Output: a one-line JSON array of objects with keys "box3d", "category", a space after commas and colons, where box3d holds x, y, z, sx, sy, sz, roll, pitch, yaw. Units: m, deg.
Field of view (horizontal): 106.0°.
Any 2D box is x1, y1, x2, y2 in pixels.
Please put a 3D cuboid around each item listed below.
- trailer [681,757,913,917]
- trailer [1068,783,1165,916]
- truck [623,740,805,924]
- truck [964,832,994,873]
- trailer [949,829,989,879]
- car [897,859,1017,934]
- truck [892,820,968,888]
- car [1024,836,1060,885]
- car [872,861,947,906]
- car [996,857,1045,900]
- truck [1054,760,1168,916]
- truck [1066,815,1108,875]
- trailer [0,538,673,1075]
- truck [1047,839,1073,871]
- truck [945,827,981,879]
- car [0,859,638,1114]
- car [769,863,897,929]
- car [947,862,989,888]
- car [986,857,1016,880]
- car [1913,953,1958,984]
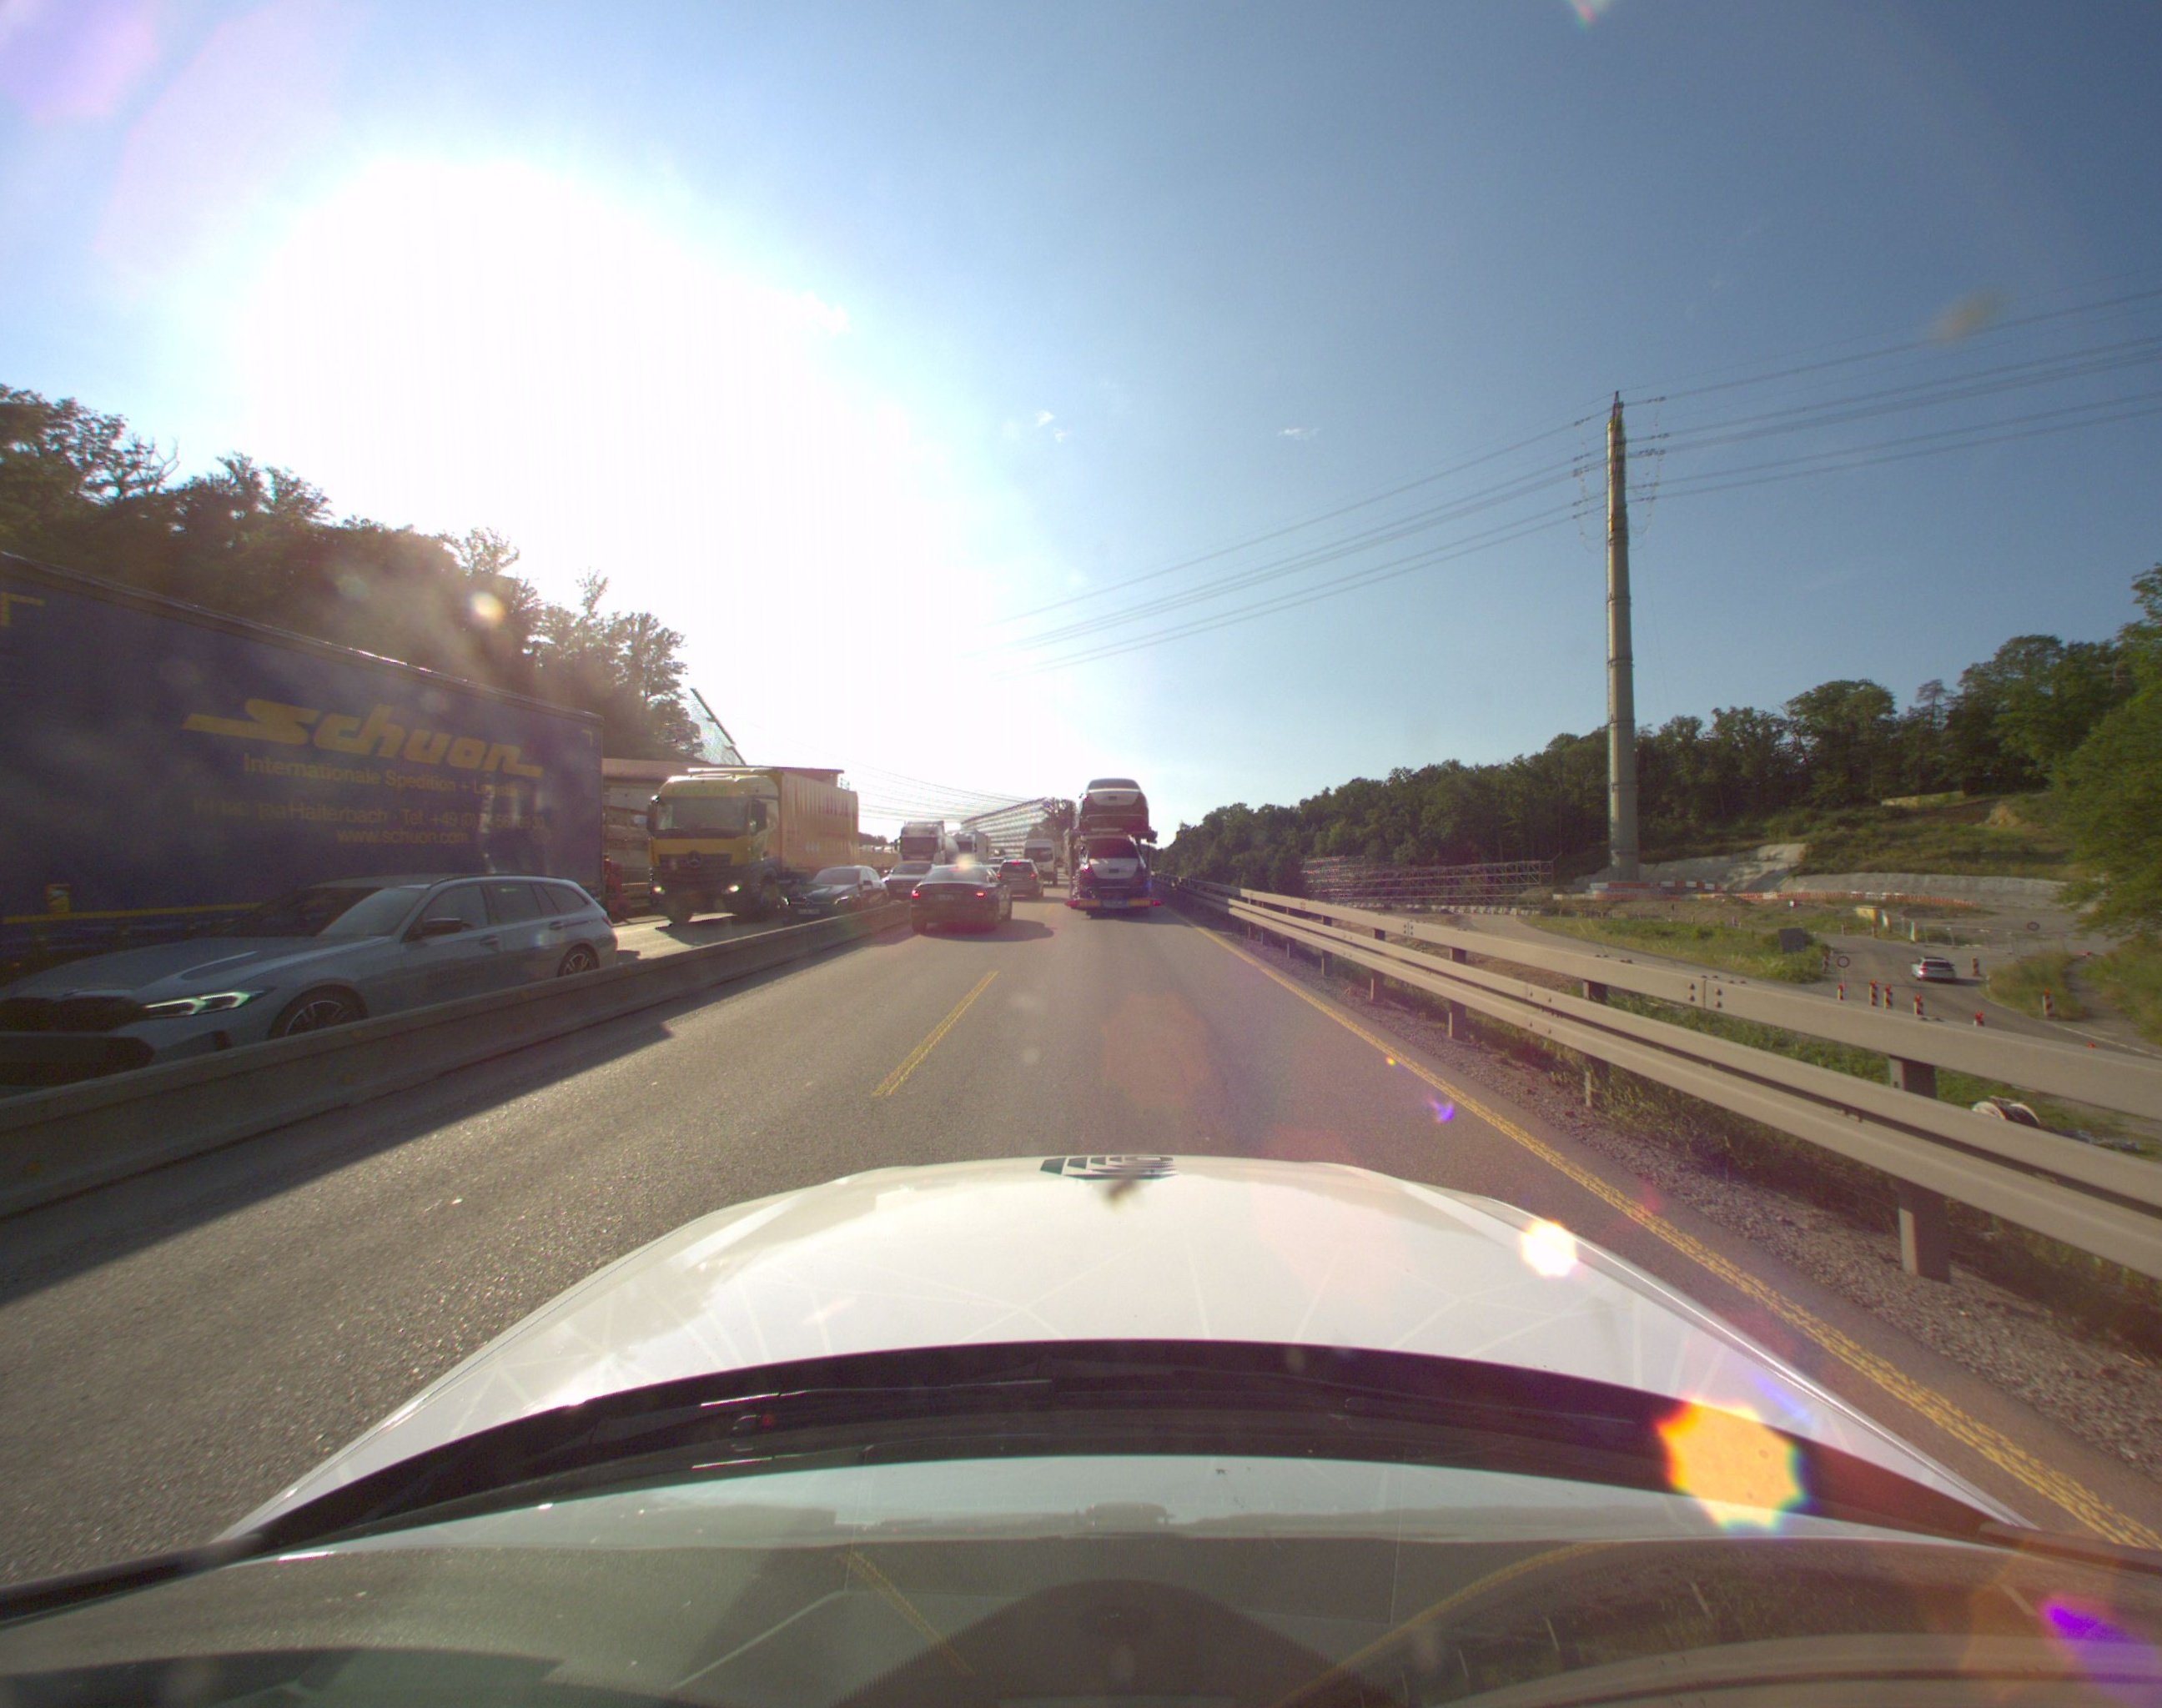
[{"box3d": [-9.194, -0.257, 29.580, 2.692, 4.204, 15.994, -1, -1, 0], "category": "trailer"}, {"box3d": [1.122, 0.046, 32.434, 2.865, 3.994, 15.276, -1, -1, 0], "category": "trailer"}, {"box3d": [-9.240, -0.468, 21.043, 2.685, 4.197, 4.397, -1, -2, 0], "category": "truck"}, {"box3d": [-11.308, -0.091, 90.769, 2.888, 4.272, 5.761, -1, -2, -4], "category": "truck"}, {"box3d": [-10.347, 0.170, 76.304, 2.447, 4.266, 12.132, -1, -1, -2], "category": "trailer"}, {"box3d": [-2.754, 0.922, 19.326, 1.934, 1.480, 5.222, -2, -1, 1], "category": "car"}, {"box3d": [-9.715, 0.159, 54.089, 2.801, 3.970, 13.881, 0, -1, -2], "category": "truck"}, {"box3d": [-2.227, 0.411, 47.366, 1.974, 2.685, 4.143, -1, -2, -2], "category": "car"}, {"box3d": [-6.186, 1.053, 29.835, 1.710, 1.508, 4.291, -1, -1, 1], "category": "car"}, {"box3d": [-2.378, 0.968, 32.946, 1.696, 1.587, 4.145, -1, -1, -1], "category": "car"}, {"box3d": [0.951, -0.336, 23.965, 2.857, 3.980, 5.776, -1, -2, 4], "category": "truck"}, {"box3d": [0.488, -0.685, 69.863, 3.217, 4.677, 11.694, -1, 0, 0], "category": "truck"}, {"box3d": [-9.628, -0.311, 7.699, 2.704, 4.135, 16.755, -1, -1, 1], "category": "trailer"}, {"box3d": [-3.166, 0.078, 125.584, 3.636, 4.677, 11.694, -1, 0, 0], "category": "truck"}, {"box3d": [-10.120, 0.019, 70.386, 2.438, 4.272, 6.315, -1, -2, -3], "category": "truck"}, {"box3d": [-6.185, 0.859, 7.249, 1.782, 1.498, 4.726, -1, -1, 2], "category": "car"}, {"box3d": [-6.119, 0.996, 20.682, 1.791, 1.453, 4.615, -1, -1, 1], "category": "car"}, {"box3d": [-6.544, 1.212, 47.589, 1.734, 1.402, 4.901, -1, -1, 0], "category": "car"}, {"box3d": [-6.292, 1.161, 64.522, 1.840, 1.648, 4.558, -2, -1, 0], "category": "car"}, {"box3d": [55.101, 7.342, 52.588, 1.511, 1.461, 4.294, -3, -2, 40], "category": "car"}]
